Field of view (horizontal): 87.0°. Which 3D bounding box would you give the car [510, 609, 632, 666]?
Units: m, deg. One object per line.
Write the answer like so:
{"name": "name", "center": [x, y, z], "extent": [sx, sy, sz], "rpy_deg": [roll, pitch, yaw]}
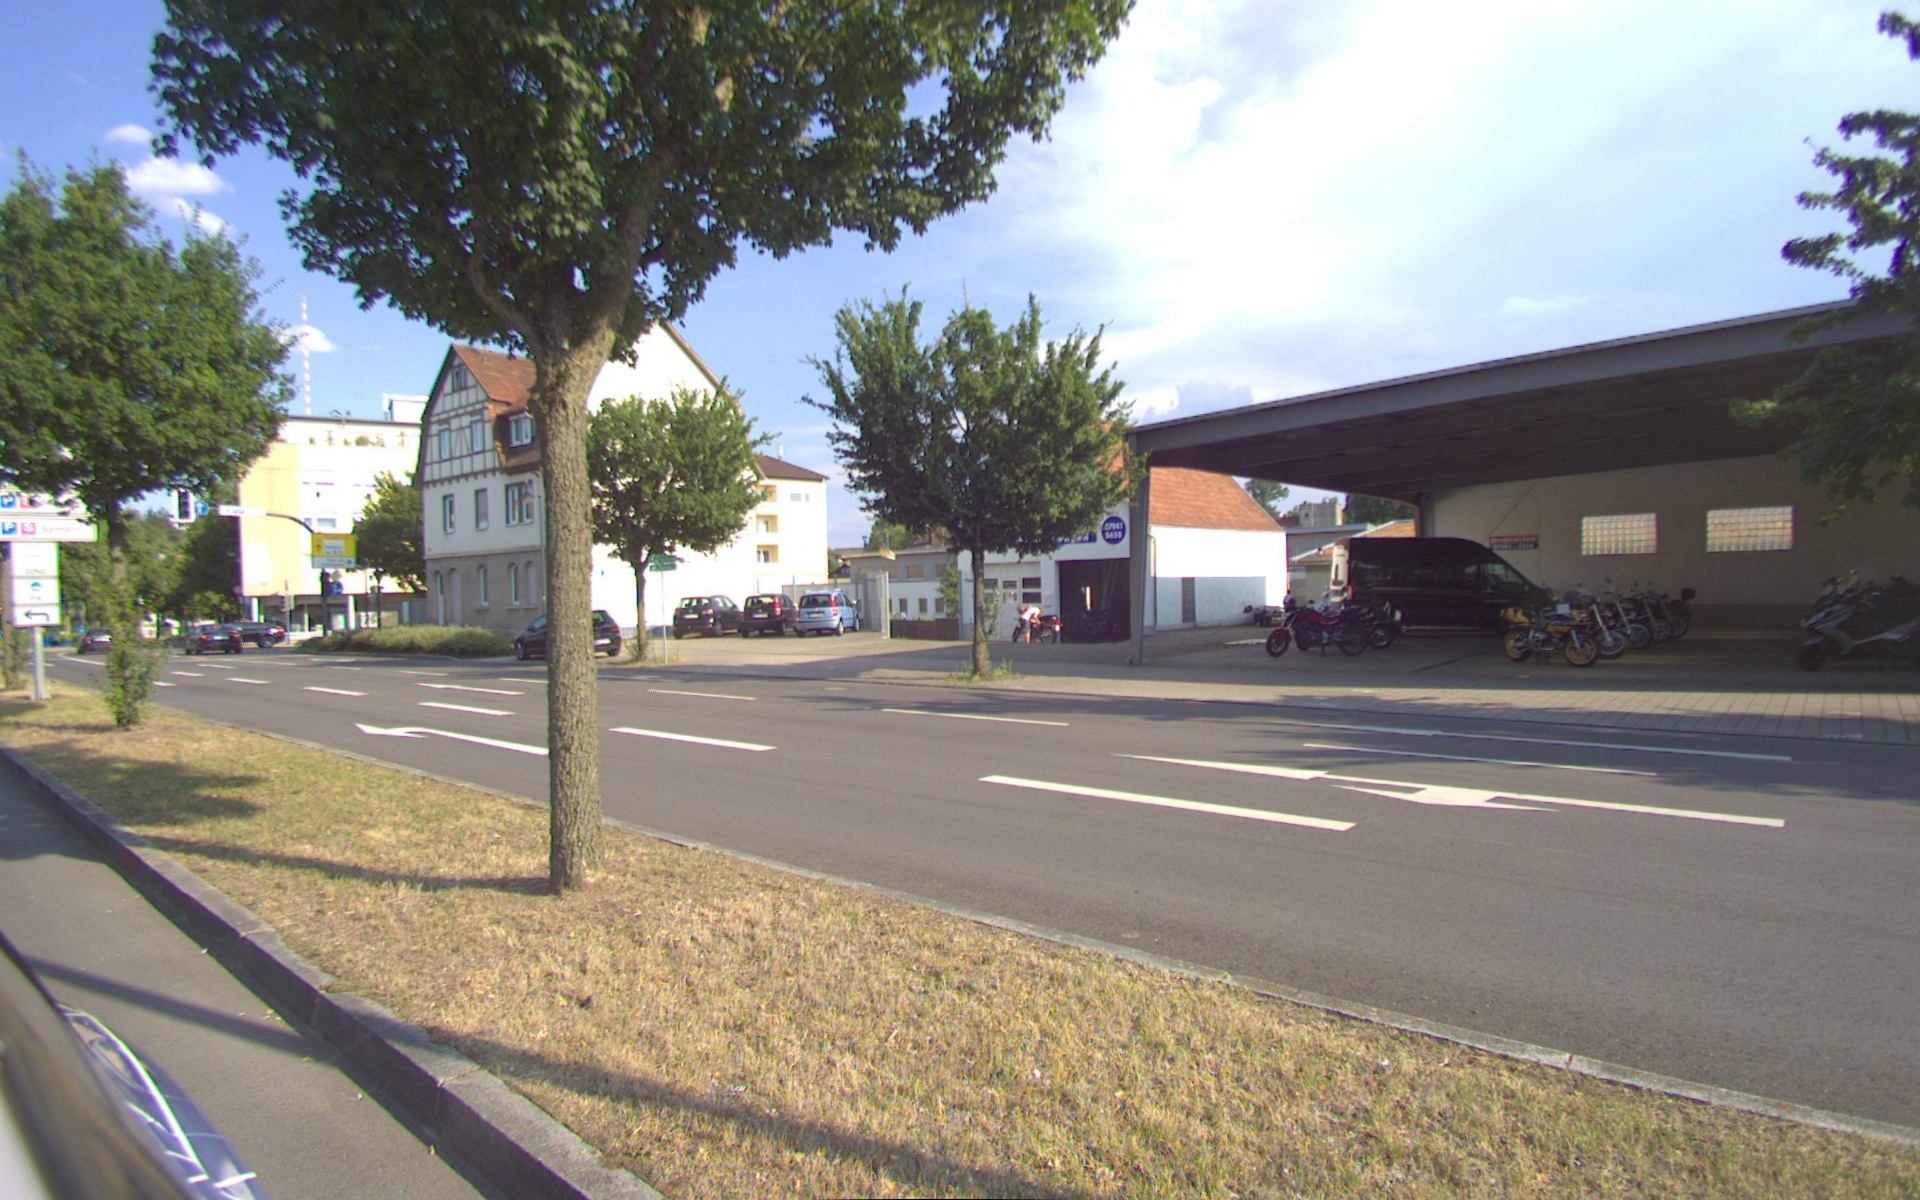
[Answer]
{"name": "car", "center": [-11.590, 1.077, 30.073], "extent": [3.823, 1.462, 1.795], "rpy_deg": [-1, 2, 42]}

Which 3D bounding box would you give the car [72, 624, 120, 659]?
{"name": "car", "center": [-45.809, 2.155, 53.631], "extent": [1.756, 1.706, 4.004], "rpy_deg": [-1, 0, -43]}

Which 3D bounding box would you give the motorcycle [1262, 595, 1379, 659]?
{"name": "motorcycle", "center": [7.507, 0.558, 21.157], "extent": [2.202, 1.290, 0.629], "rpy_deg": [-1, 0, 11]}

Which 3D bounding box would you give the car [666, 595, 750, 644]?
{"name": "car", "center": [-9.312, 0.687, 37.696], "extent": [1.797, 1.512, 3.819], "rpy_deg": [-3, 2, 5]}

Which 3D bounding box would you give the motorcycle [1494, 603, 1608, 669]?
{"name": "motorcycle", "center": [10.542, 0.616, 18.149], "extent": [0.621, 1.095, 2.038], "rpy_deg": [-1, 0, -7]}

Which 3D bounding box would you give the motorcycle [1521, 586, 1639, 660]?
{"name": "motorcycle", "center": [12.169, 0.434, 19.954], "extent": [0.621, 1.347, 2.269], "rpy_deg": [-1, 0, -9]}

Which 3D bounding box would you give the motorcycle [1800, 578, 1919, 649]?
{"name": "motorcycle", "center": [18.055, 0.266, 19.986], "extent": [2.103, 1.306, 0.628], "rpy_deg": [-3, -1, 17]}

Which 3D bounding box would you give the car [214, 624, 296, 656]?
{"name": "car", "center": [-41.918, 2.343, 60.205], "extent": [3.935, 1.687, 1.791], "rpy_deg": [-1, 0, -38]}

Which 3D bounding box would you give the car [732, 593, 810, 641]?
{"name": "car", "center": [-6.912, 0.582, 37.304], "extent": [1.797, 1.512, 3.819], "rpy_deg": [-3, 2, 5]}

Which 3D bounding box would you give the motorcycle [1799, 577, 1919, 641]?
{"name": "motorcycle", "center": [20.239, 0.203, 22.642], "extent": [2.103, 1.306, 0.628], "rpy_deg": [-3, -1, 17]}

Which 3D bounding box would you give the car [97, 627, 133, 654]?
{"name": "car", "center": [-58.209, 2.766, 69.787], "extent": [1.754, 1.706, 4.008], "rpy_deg": [-1, 0, -38]}

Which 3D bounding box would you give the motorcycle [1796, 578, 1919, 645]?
{"name": "motorcycle", "center": [19.045, 0.253, 21.287], "extent": [2.103, 1.306, 0.628], "rpy_deg": [-3, -1, 17]}

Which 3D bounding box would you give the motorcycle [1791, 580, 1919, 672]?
{"name": "motorcycle", "center": [13.871, 0.372, 15.113], "extent": [2.103, 1.306, 0.628], "rpy_deg": [-3, -1, 17]}

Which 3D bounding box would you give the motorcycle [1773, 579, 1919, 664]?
{"name": "motorcycle", "center": [14.923, 0.358, 16.774], "extent": [2.103, 1.306, 0.628], "rpy_deg": [-3, -1, 17]}

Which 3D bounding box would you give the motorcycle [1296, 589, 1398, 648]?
{"name": "motorcycle", "center": [9.389, 0.449, 24.605], "extent": [2.198, 1.372, 0.630], "rpy_deg": [-1, 0, 5]}

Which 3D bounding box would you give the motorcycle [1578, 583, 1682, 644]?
{"name": "motorcycle", "center": [15.547, 0.298, 23.577], "extent": [0.621, 1.347, 2.269], "rpy_deg": [-1, 0, -9]}

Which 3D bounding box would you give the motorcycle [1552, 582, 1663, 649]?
{"name": "motorcycle", "center": [13.874, 0.321, 21.767], "extent": [0.621, 1.347, 2.269], "rpy_deg": [-1, 0, -9]}

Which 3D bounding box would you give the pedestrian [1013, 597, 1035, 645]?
{"name": "pedestrian", "center": [2.082, 0.672, 32.762], "extent": [0.485, 1.530, 0.496], "rpy_deg": [-1, 0, 41]}

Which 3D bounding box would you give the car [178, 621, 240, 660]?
{"name": "car", "center": [-35.619, 1.893, 47.954], "extent": [4.002, 1.706, 1.757], "rpy_deg": [-1, 0, 45]}

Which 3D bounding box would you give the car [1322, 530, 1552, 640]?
{"name": "car", "center": [12.876, -0.382, 27.626], "extent": [5.221, 2.773, 1.996], "rpy_deg": [-1, 0, 7]}

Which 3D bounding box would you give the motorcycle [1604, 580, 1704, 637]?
{"name": "motorcycle", "center": [17.301, 0.216, 25.301], "extent": [0.621, 1.347, 2.269], "rpy_deg": [-1, 0, -9]}

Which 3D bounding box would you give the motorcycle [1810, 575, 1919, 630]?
{"name": "motorcycle", "center": [23.744, 0.069, 26.519], "extent": [2.103, 1.306, 0.628], "rpy_deg": [-3, -1, 17]}

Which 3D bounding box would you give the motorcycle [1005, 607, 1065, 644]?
{"name": "motorcycle", "center": [2.444, 0.835, 33.208], "extent": [1.974, 1.194, 0.577], "rpy_deg": [-1, 0, 41]}

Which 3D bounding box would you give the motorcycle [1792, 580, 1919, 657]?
{"name": "motorcycle", "center": [16.541, 0.336, 18.346], "extent": [2.103, 1.306, 0.628], "rpy_deg": [-3, -1, 17]}

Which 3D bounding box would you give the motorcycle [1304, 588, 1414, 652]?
{"name": "motorcycle", "center": [8.967, 0.447, 22.802], "extent": [2.198, 1.372, 0.630], "rpy_deg": [-1, 0, 5]}

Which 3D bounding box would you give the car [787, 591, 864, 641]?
{"name": "car", "center": [-4.673, 0.516, 35.674], "extent": [1.797, 1.512, 3.819], "rpy_deg": [-3, 2, 5]}
